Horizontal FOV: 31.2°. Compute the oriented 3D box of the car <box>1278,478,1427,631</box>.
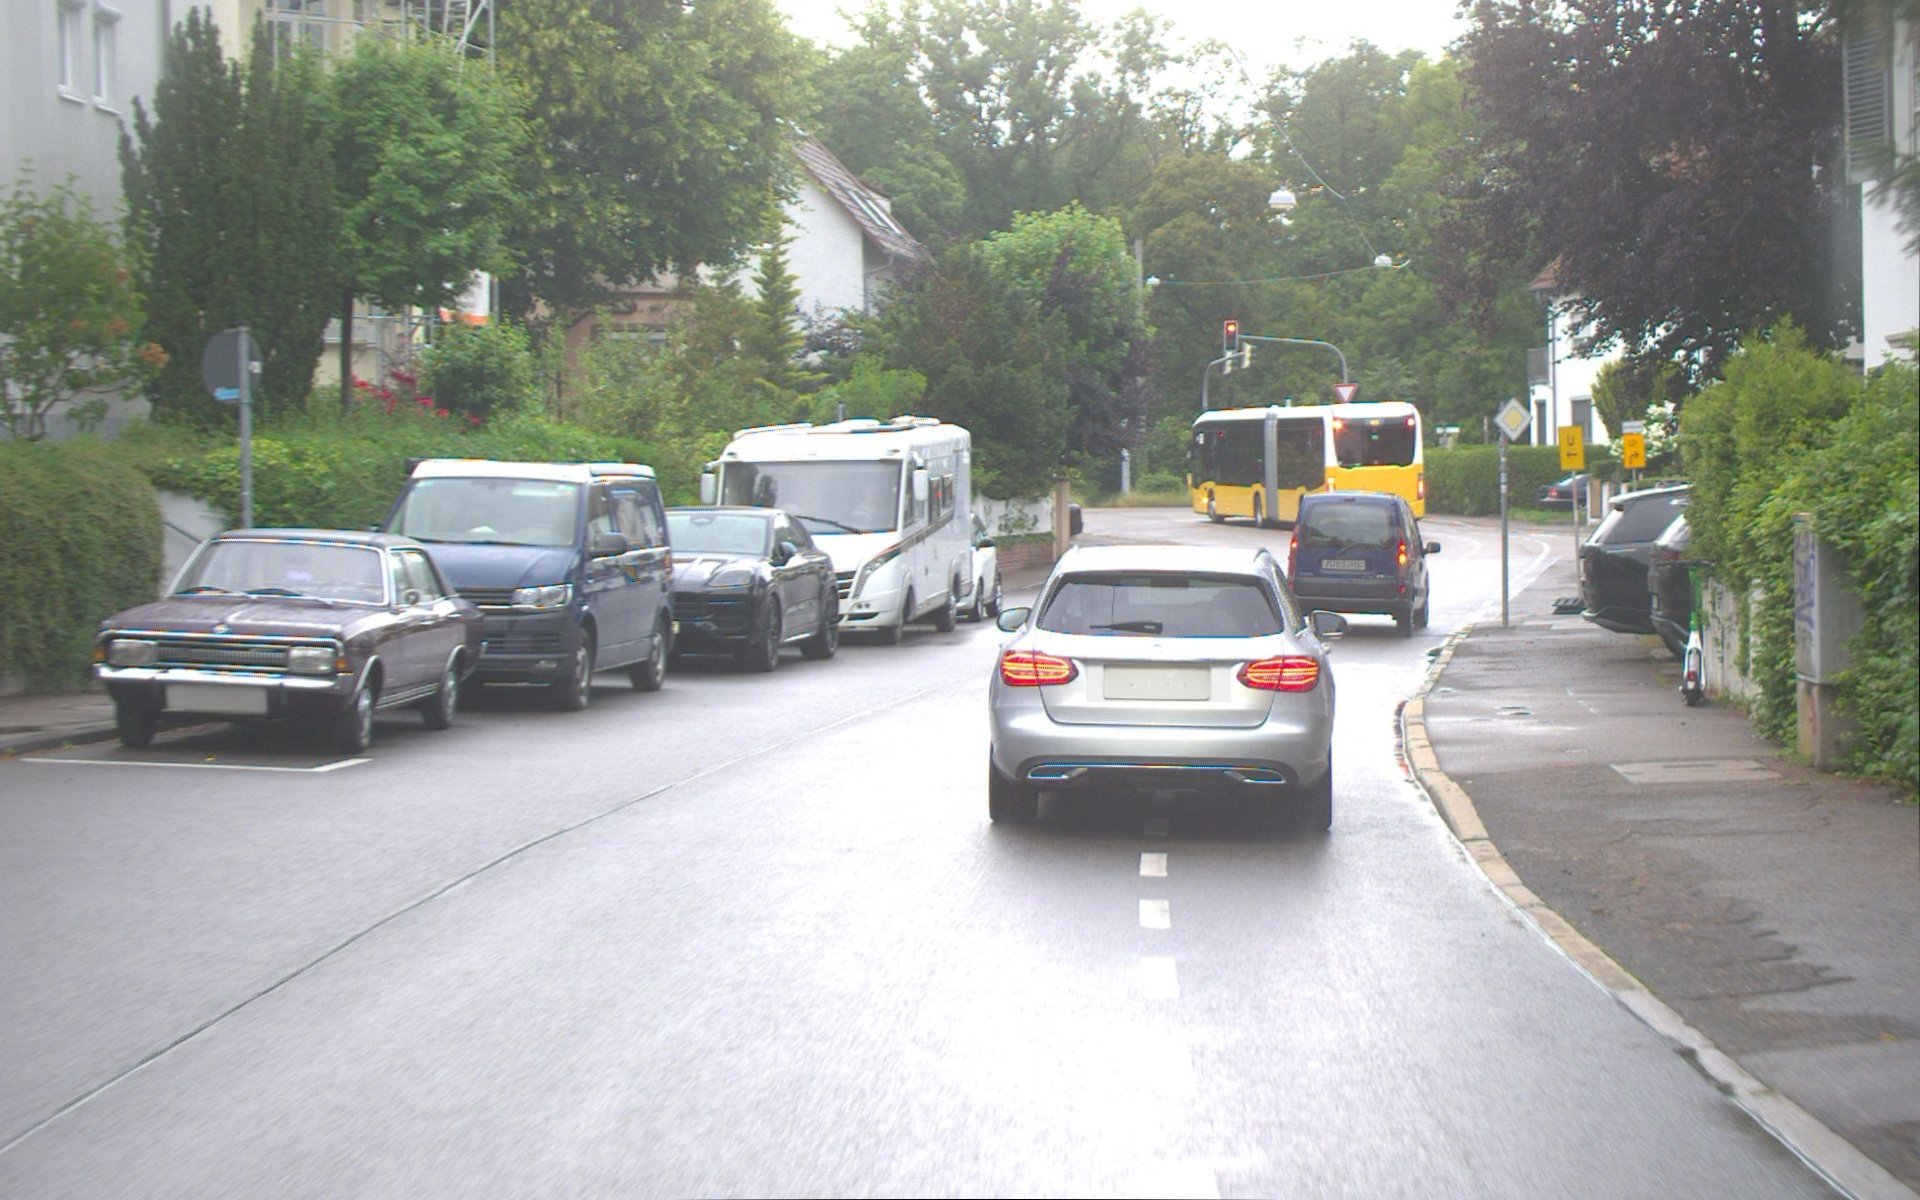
[{"bbox_3d":[5.216,-0.612,45.455,1.843,1.897,3.999,1,1,7],"label":"car"}]

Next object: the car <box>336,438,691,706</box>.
[{"bbox_3d":[-3.672,-0.269,29.241,1.830,2.049,5.009,1,1,6],"label":"car"}]

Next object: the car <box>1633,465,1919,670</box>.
[{"bbox_3d":[8.880,-0.372,32.683,4.663,1.806,2.000,-2,1,7],"label":"car"}]

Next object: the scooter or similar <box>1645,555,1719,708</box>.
[{"bbox_3d":[5.884,0.242,28.077,0.456,1.196,1.865,1,1,9],"label":"scooter or similar"}]

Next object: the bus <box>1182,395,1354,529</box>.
[{"bbox_3d":[8.919,-4.154,100.989,2.928,3.638,10.306,1,4,-7],"label":"bus"}]

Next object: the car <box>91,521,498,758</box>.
[{"bbox_3d":[-4.474,0.192,23.781,1.643,1.412,4.612,1,2,4],"label":"car"}]

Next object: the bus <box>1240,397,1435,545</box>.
[{"bbox_3d":[9.966,-3.567,92.008,2.928,3.638,10.172,1,4,-7],"label":"bus"}]

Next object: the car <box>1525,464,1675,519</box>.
[{"bbox_3d":[18.929,-3.225,101.727,3.986,1.525,1.760,0,4,-8],"label":"car"}]

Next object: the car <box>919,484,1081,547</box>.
[{"bbox_3d":[0.994,-2.120,85.918,3.987,1.415,1.887,1,4,1],"label":"car"}]

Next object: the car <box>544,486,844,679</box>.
[{"bbox_3d":[-2.660,-0.249,35.533,1.994,1.682,4.675,2,4,10],"label":"car"}]

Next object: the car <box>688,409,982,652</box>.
[{"bbox_3d":[-1.436,-0.970,42.921,2.391,2.762,6.530,2,3,9],"label":"car"}]

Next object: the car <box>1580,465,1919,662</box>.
[{"bbox_3d":[8.929,-0.427,35.866,4.663,1.868,2.000,-2,1,7],"label":"car"}]

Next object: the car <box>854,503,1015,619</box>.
[{"bbox_3d":[-0.323,-0.585,48.629,1.713,1.442,3.254,2,4,10],"label":"car"}]

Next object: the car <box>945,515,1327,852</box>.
[{"bbox_3d":[1.054,0.351,18.618,1.816,1.551,3.999,1,2,6],"label":"car"}]
